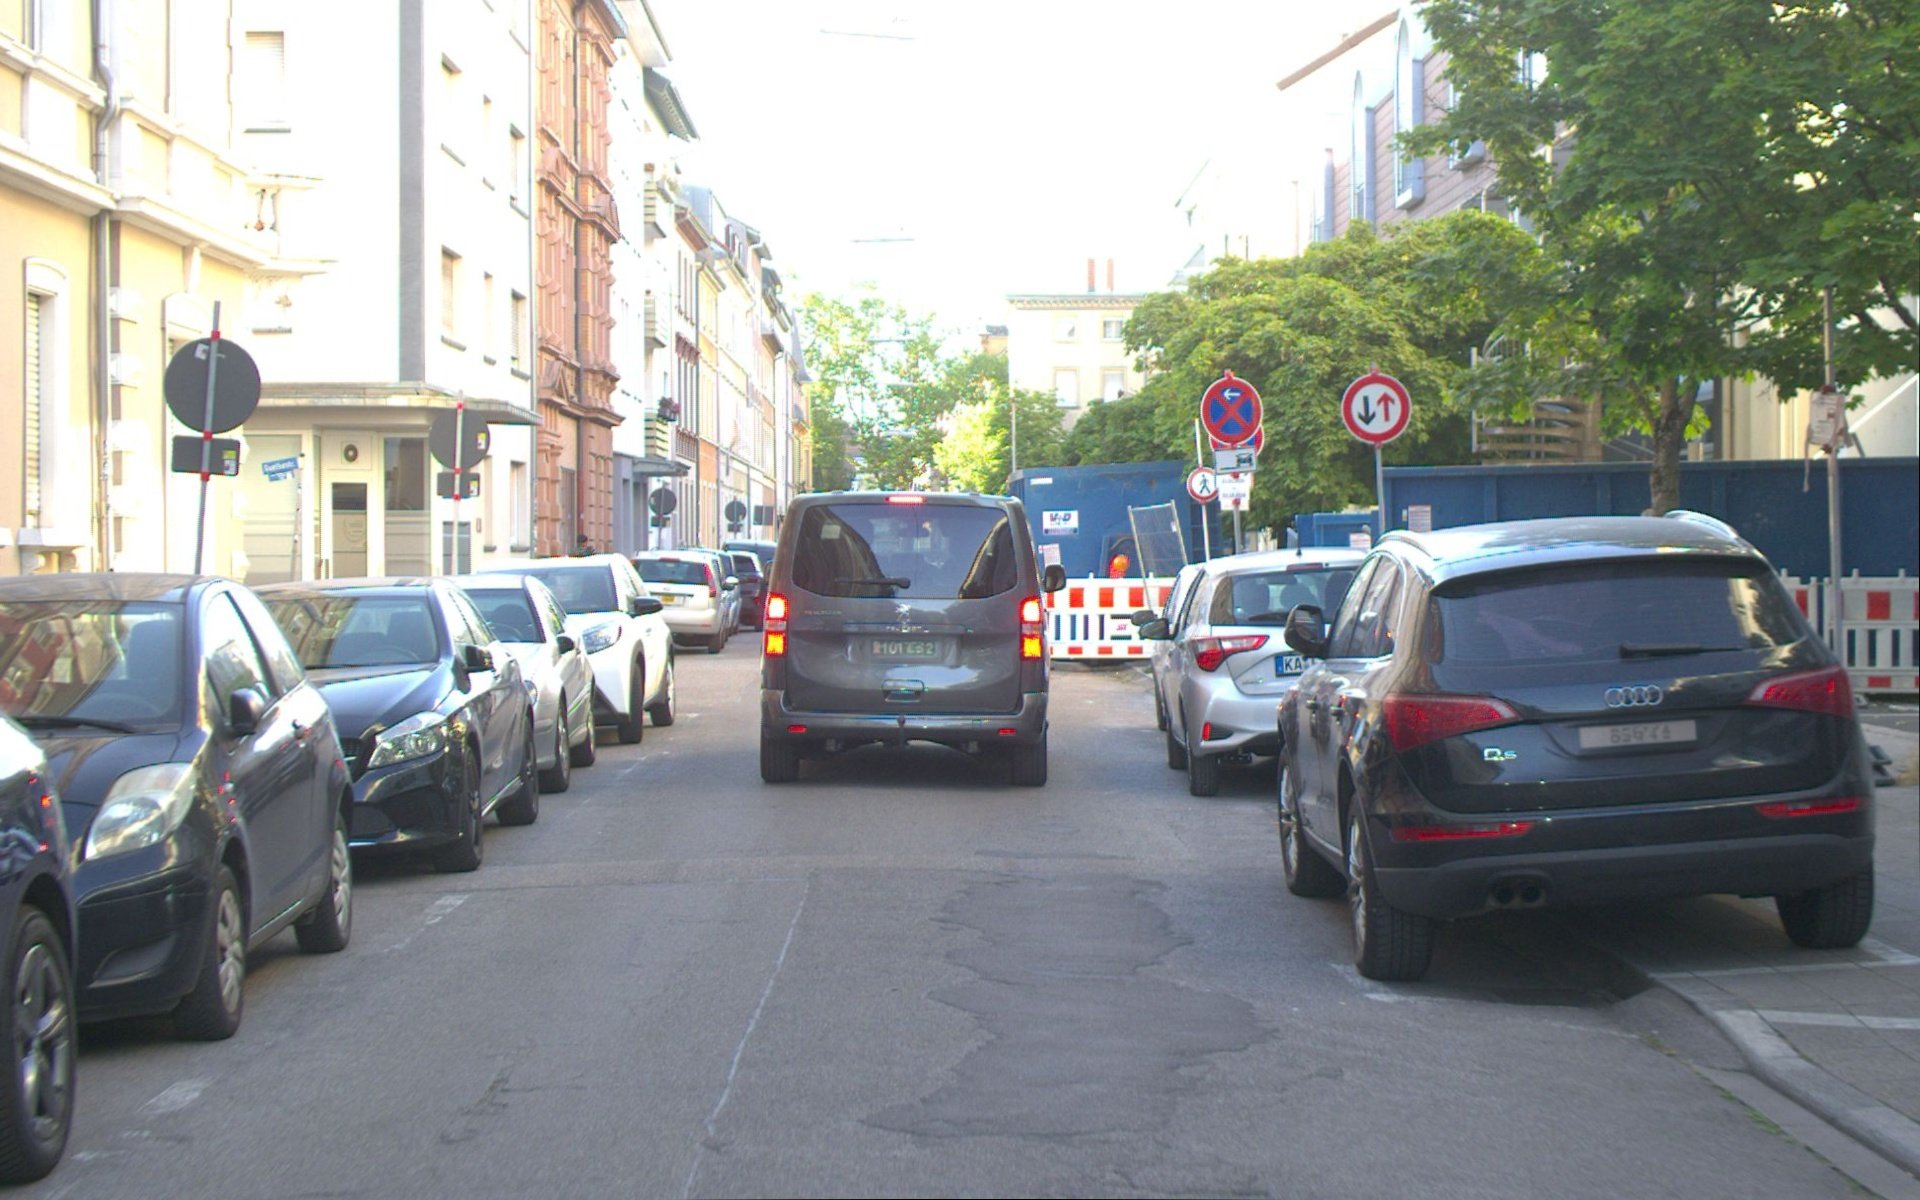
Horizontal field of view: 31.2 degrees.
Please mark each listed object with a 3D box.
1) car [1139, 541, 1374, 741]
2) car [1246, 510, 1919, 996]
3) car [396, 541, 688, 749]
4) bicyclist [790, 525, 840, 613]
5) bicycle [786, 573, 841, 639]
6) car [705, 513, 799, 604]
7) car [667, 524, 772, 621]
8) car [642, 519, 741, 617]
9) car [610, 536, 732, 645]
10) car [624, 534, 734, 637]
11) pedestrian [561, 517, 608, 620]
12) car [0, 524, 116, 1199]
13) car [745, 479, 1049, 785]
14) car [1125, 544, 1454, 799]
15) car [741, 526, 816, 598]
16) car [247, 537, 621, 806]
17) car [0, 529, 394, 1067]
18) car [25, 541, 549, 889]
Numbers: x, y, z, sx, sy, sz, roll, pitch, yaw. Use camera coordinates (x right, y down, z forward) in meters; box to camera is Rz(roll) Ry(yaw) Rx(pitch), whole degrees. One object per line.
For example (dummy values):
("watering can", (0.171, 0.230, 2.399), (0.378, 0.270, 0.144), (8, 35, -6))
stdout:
("car", (2.342, 0.283, 27.890), (1.676, 1.471, 3.729), (-2, 1, 2))
("car", (2.334, 0.488, 14.002), (1.885, 1.617, 4.434), (-2, 1, -1))
("car", (-3.382, 0.312, 28.564), (1.920, 1.502, 4.267), (-2, 1, -1))
("bicyclist", (-2.364, -0.503, 56.181), (0.733, 1.407, 0.940), (2, 1, 1))
("bicycle", (-2.381, 0.081, 56.123), (0.733, 1.024, 2.115), (2, 1, 1))
("car", (-4.691, -0.920, 77.084), (1.891, 1.840, 4.349), (5, 0, -4))
("car", (-4.740, -0.534, 67.716), (1.891, 1.714, 3.754), (5, 0, -4))
("car", (-4.987, -0.591, 64.079), (1.666, 1.660, 3.092), (5, 0, -4))
("car", (-4.327, -0.150, 51.651), (1.656, 1.455, 3.418), (5, 0, -4))
("car", (-4.638, -0.248, 56.976), (1.656, 1.520, 3.418), (5, 0, -4))
("pedestrian", (-6.100, -0.519, 55.935), (0.740, 1.659, 0.704), (0, 1, -5))
("car", (-3.159, 0.664, 6.922), (1.920, 1.554, 4.267), (-2, 1, -2))
("car", (-0.455, 0.186, 23.520), (1.865, 1.880, 4.236), (1, 0, -2))
("car", (2.129, 0.410, 23.161), (1.676, 1.520, 3.971), (-2, 1, -2))
("car", (-5.167, -1.065, 97.265), (1.891, 1.840, 4.349), (5, 0, -4))
("car", (-3.424, 0.398, 23.161), (1.920, 1.554, 4.267), (-2, 1, -2))
("car", (-3.291, 0.566, 12.267), (1.901, 1.554, 4.241), (-2, 1, -2))
("car", (-3.309, 0.485, 17.739), (1.920, 1.479, 4.267), (-2, 1, -2))
